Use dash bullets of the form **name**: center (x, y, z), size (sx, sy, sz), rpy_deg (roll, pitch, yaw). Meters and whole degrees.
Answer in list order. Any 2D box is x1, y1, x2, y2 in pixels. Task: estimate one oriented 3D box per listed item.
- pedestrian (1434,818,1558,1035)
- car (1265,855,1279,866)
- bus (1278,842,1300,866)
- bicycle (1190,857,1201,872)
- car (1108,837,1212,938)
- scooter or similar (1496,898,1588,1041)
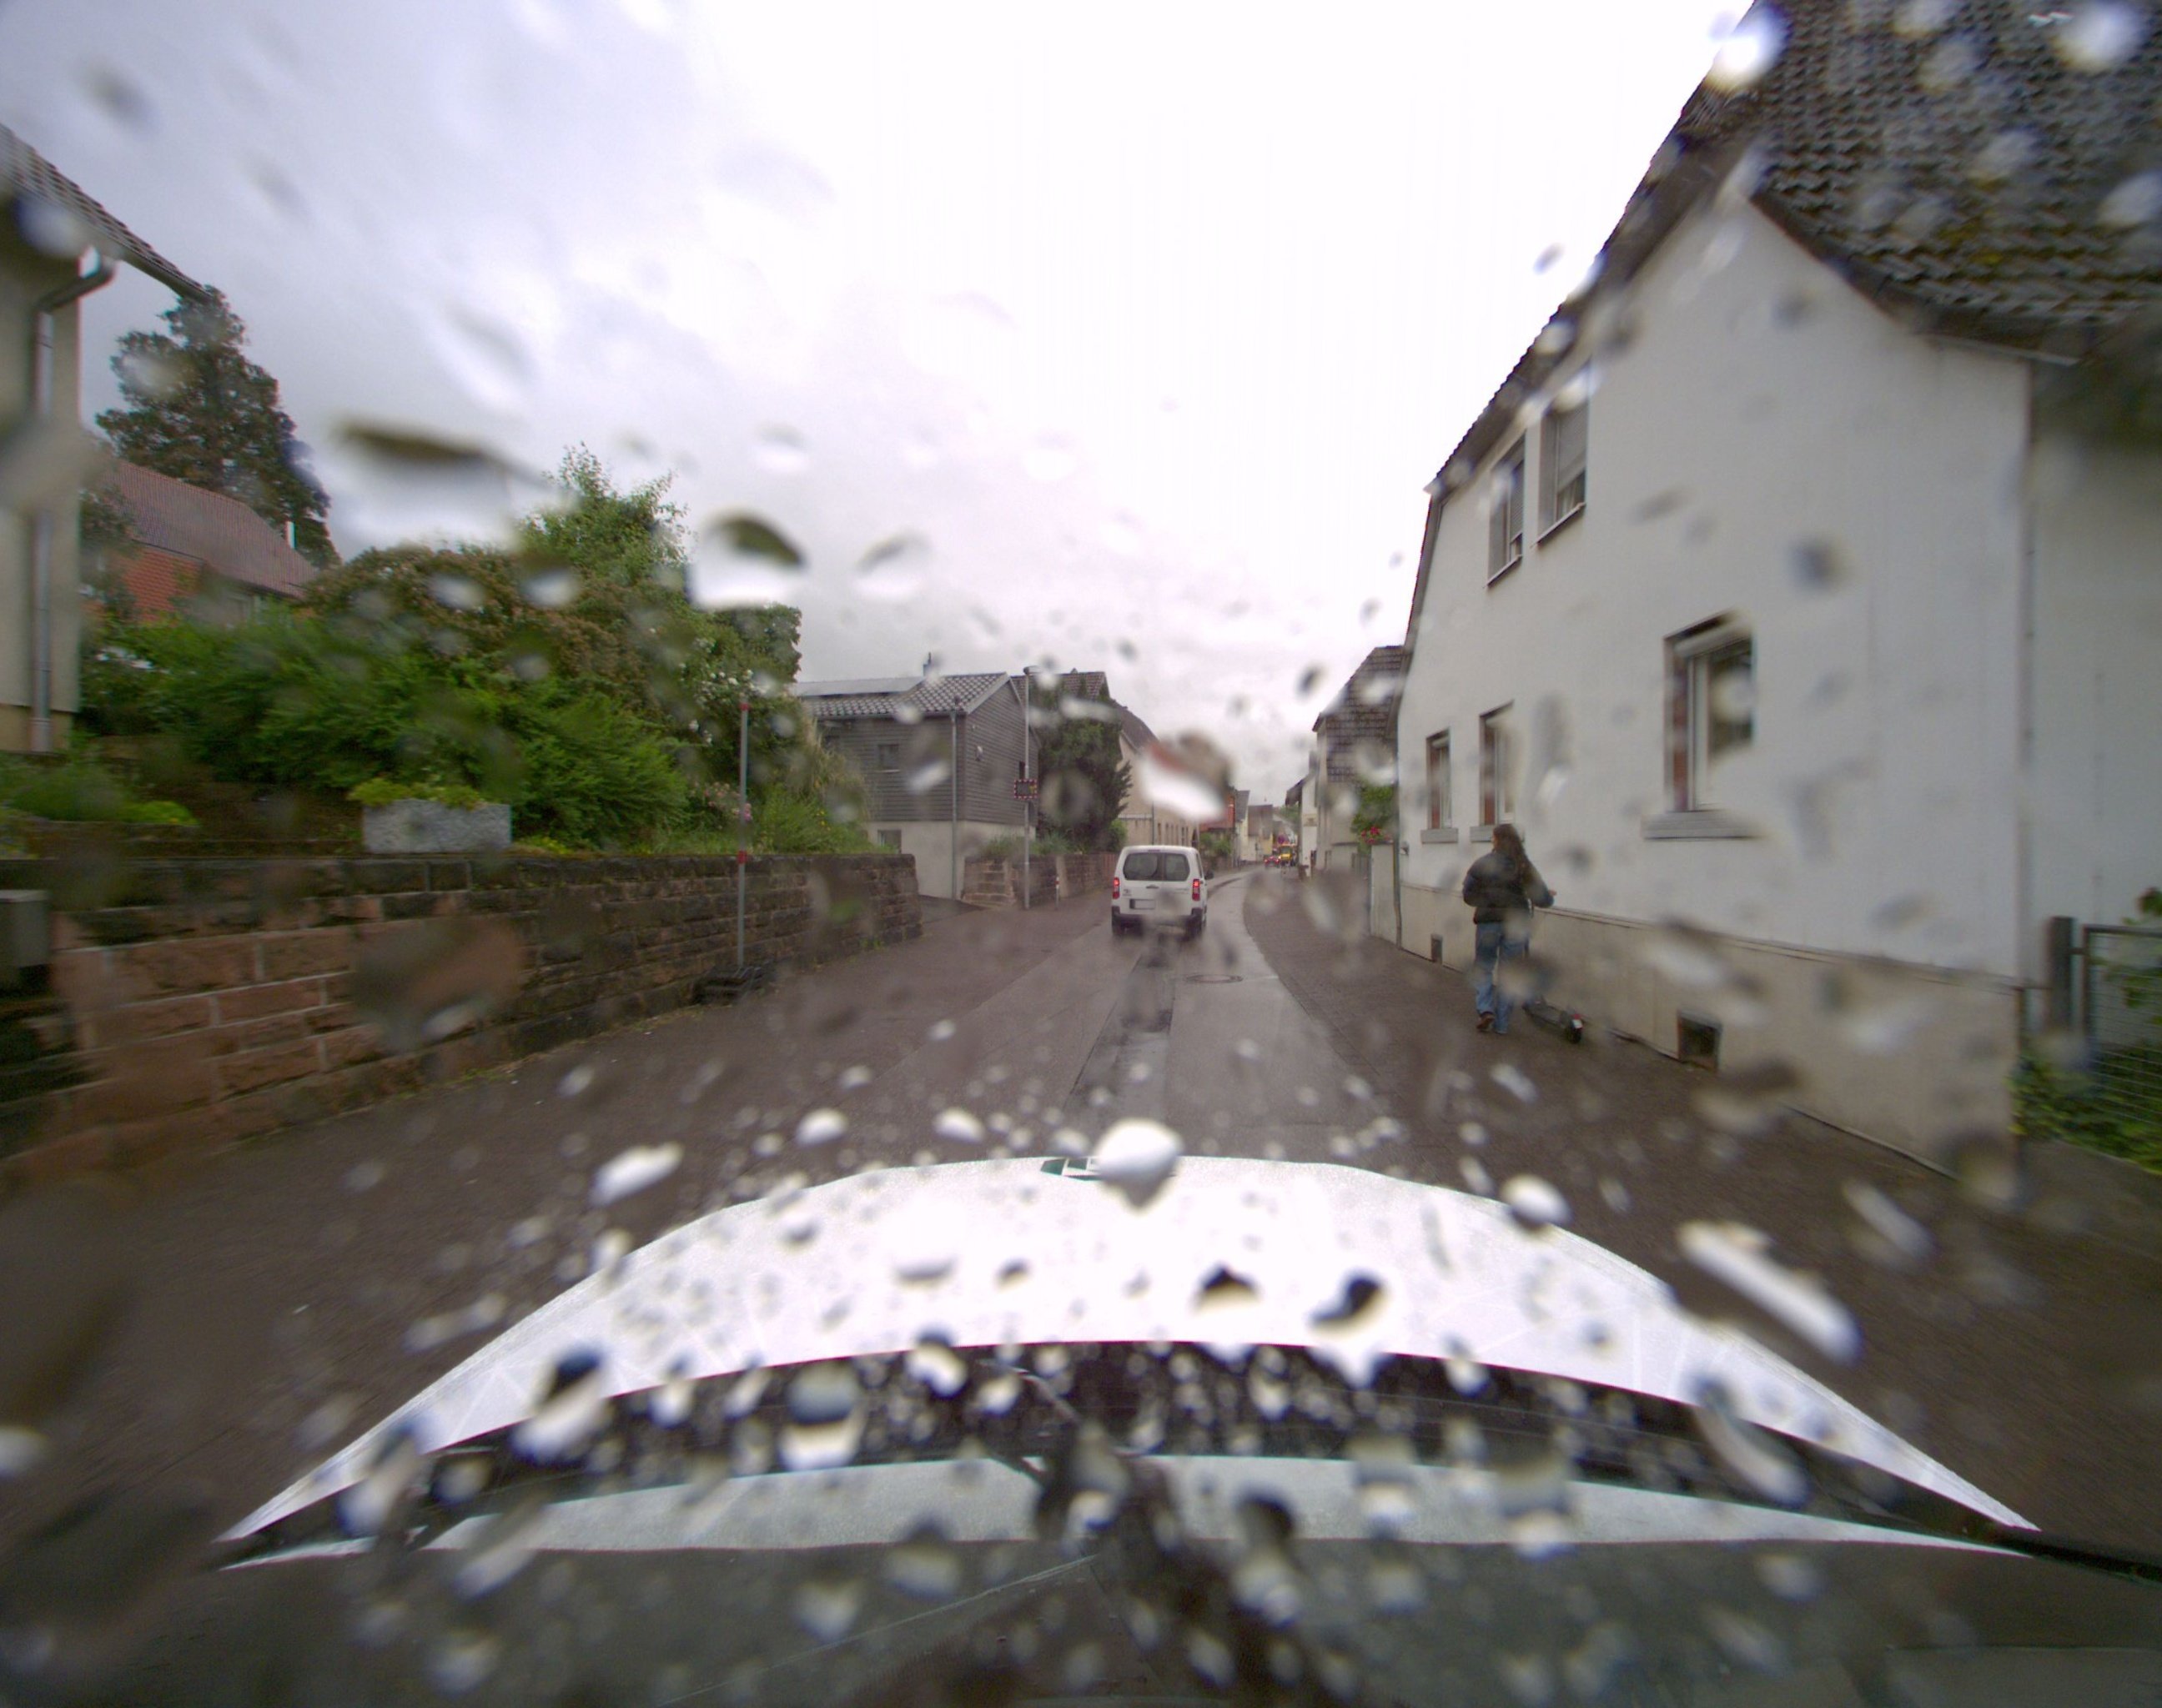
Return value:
- **pedestrian**: center (3.506, 0.584, 6.947), size (0.690, 1.732, 0.823), rpy_deg (-1, 0, 7)
- **car**: center (24.723, 0.828, 105.233), size (1.549, 1.371, 3.600), rpy_deg (1, 0, 17)
- **bus**: center (29.890, 0.017, 116.807), size (2.772, 3.180, 8.212), rpy_deg (2, 0, 16)
- **bicycle**: center (9.270, 0.863, 65.938), size (0.479, 1.180, 1.844), rpy_deg (1, -1, 18)
- **car**: center (1.791, 0.643, 17.251), size (1.784, 1.819, 4.113), rpy_deg (2, -1, 10)
- **scooter or similar**: center (3.833, 0.920, 6.825), size (0.244, 1.028, 1.102), rpy_deg (-1, 0, 7)
